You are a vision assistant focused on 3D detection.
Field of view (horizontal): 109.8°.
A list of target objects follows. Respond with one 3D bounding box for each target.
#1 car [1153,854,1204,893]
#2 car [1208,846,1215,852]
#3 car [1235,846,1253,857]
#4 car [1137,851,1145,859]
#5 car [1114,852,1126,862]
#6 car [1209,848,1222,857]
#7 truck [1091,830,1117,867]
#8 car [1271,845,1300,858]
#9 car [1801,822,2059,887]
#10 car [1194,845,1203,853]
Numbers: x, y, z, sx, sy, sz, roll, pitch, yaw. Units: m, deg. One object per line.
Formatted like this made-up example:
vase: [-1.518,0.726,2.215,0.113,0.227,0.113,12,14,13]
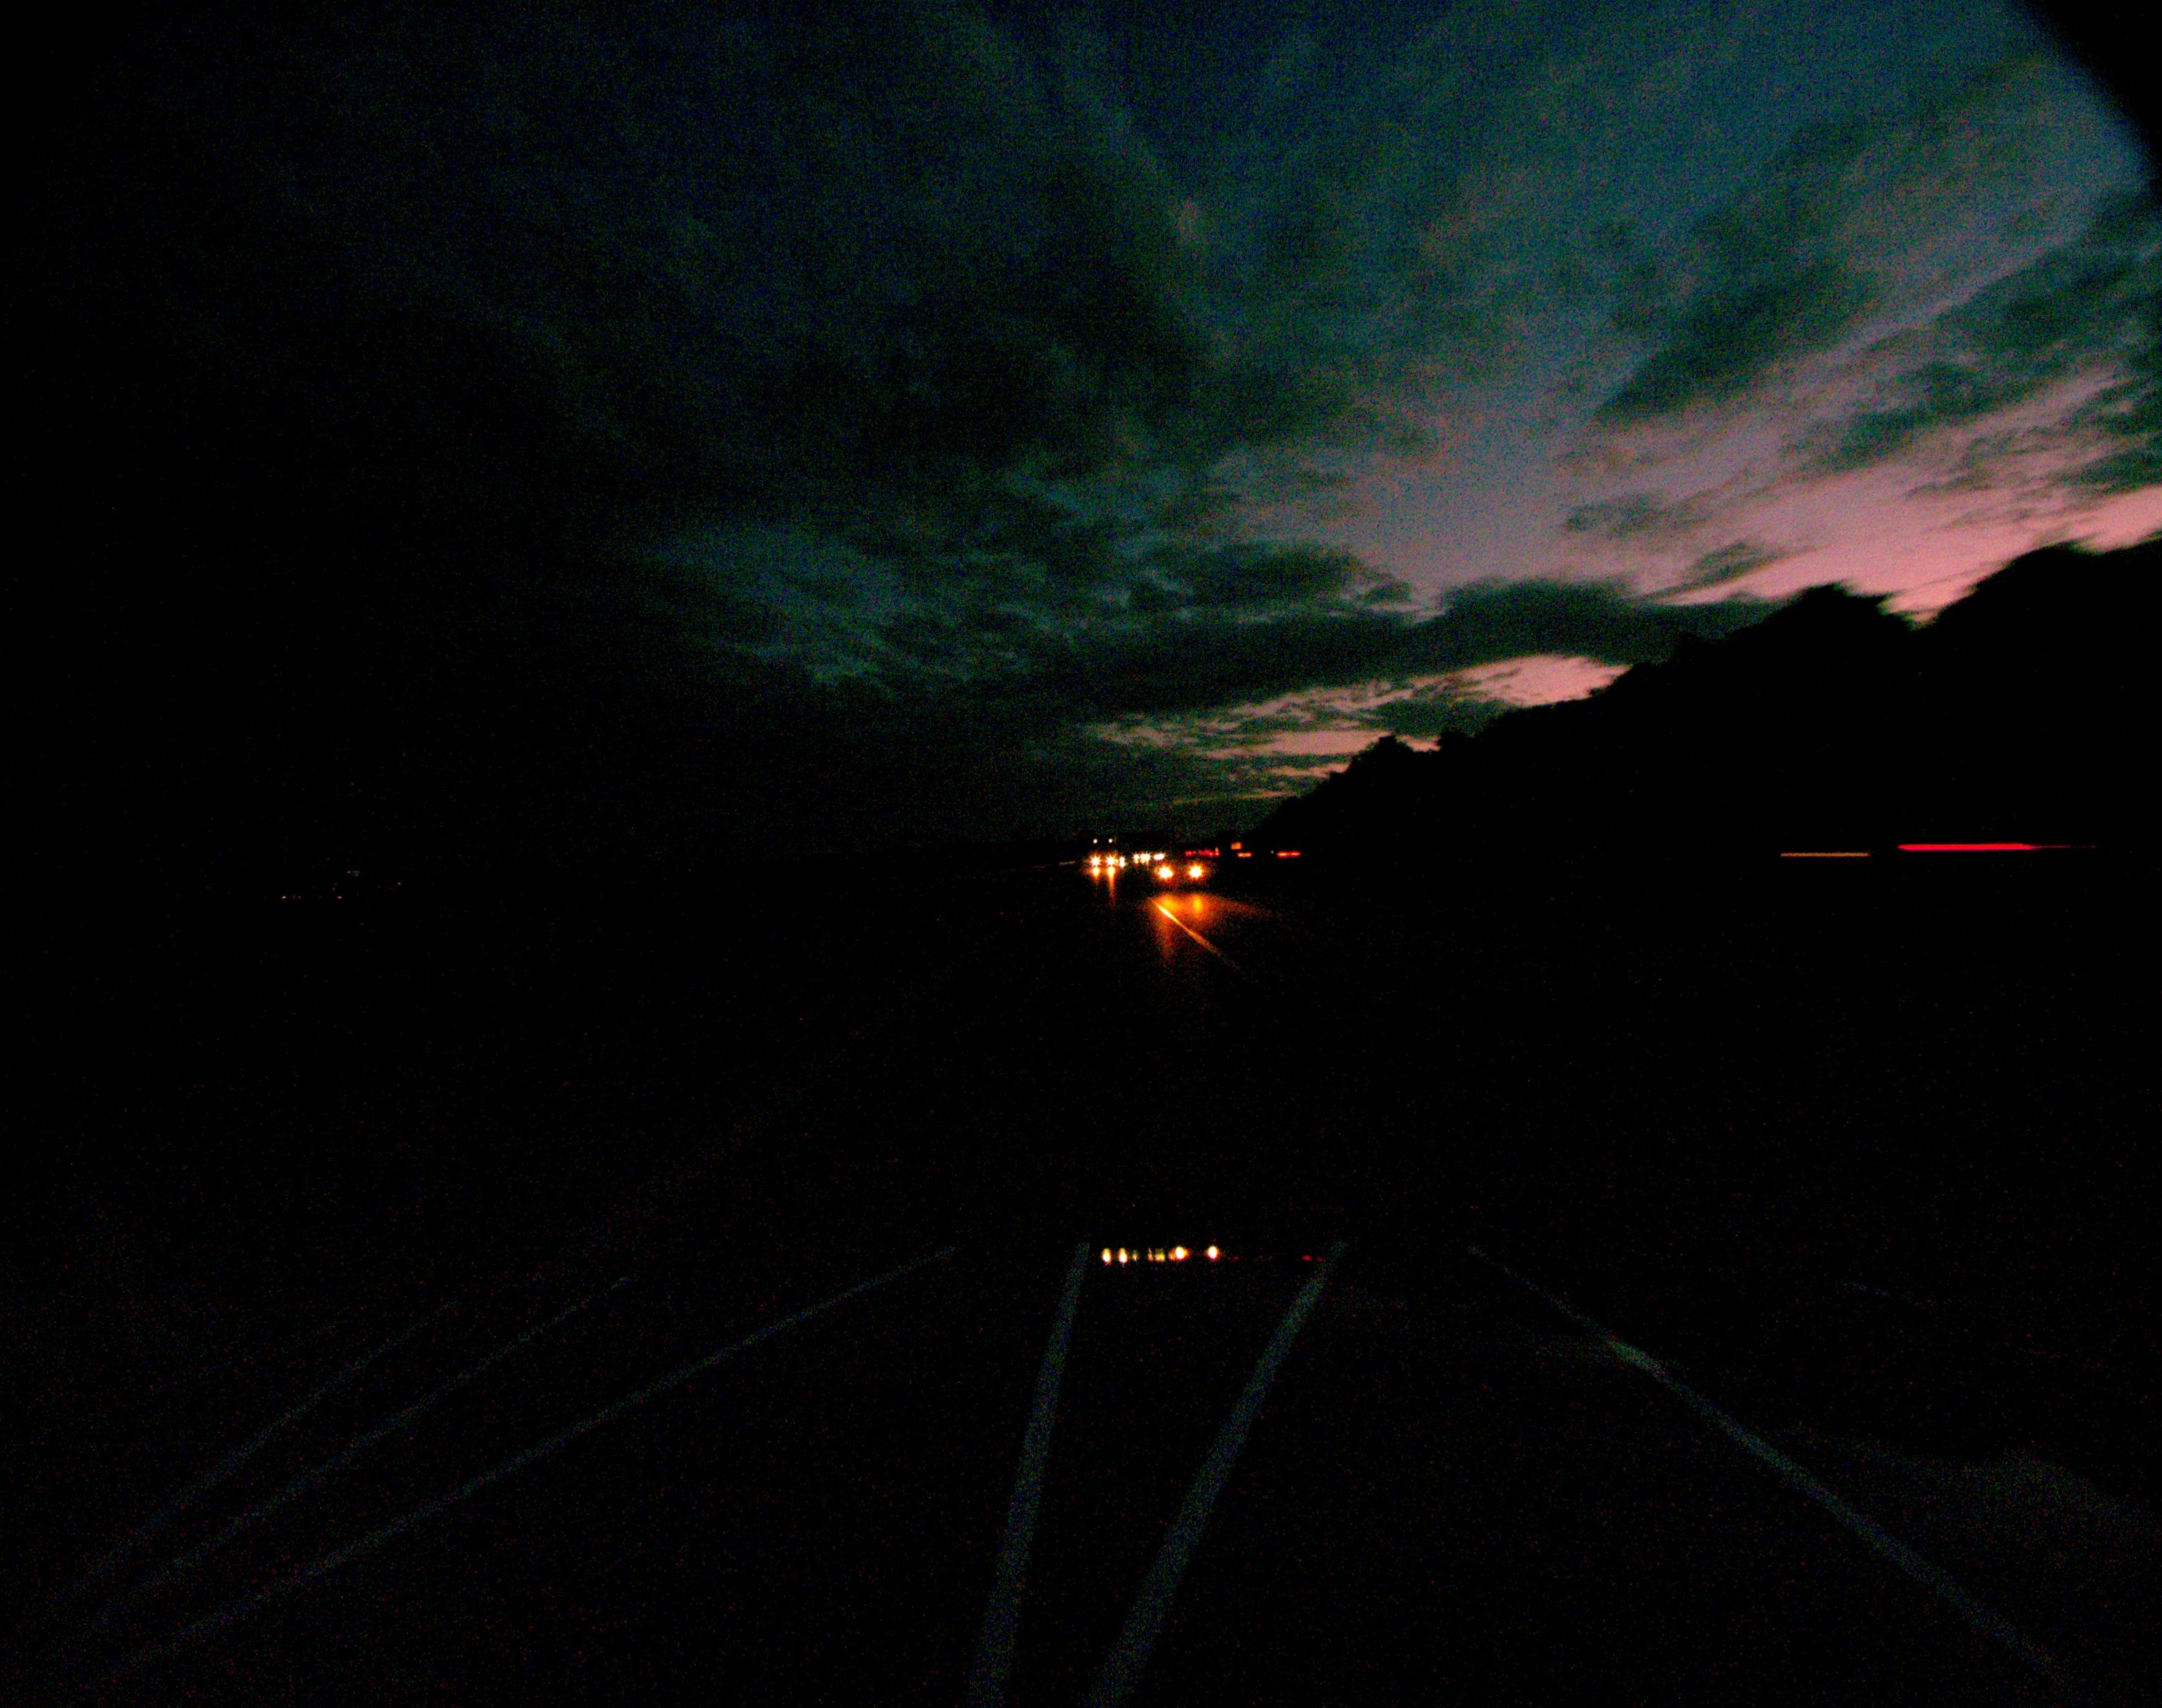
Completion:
car: [4.131,0.777,32.732,1.717,1.471,4.000,-3,0,1]
car: [43.909,-1.727,255.510,1.998,1.683,4.971,-3,0,5]
car: [24.060,-0.339,112.354,1.998,1.445,3.835,-3,0,2]
car: [14.383,0.275,182.297,1.652,1.654,3.777,-3,1,7]
car: [7.608,0.519,148.375,1.997,1.715,4.002,-3,1,7]
car: [28.289,-0.355,160.139,1.998,1.780,4.841,-3,0,3]
truck: [3.109,-0.751,100.115,3.026,4.372,11.616,-3,0,2]
car: [21.864,-0.274,81.270,1.839,1.328,4.909,-3,0,2]
car: [22.709,-0.002,20.656,1.998,1.496,4.506,-3,0,1]
car: [38.951,-1.583,251.592,2.331,2.417,7.096,-3,0,5]
